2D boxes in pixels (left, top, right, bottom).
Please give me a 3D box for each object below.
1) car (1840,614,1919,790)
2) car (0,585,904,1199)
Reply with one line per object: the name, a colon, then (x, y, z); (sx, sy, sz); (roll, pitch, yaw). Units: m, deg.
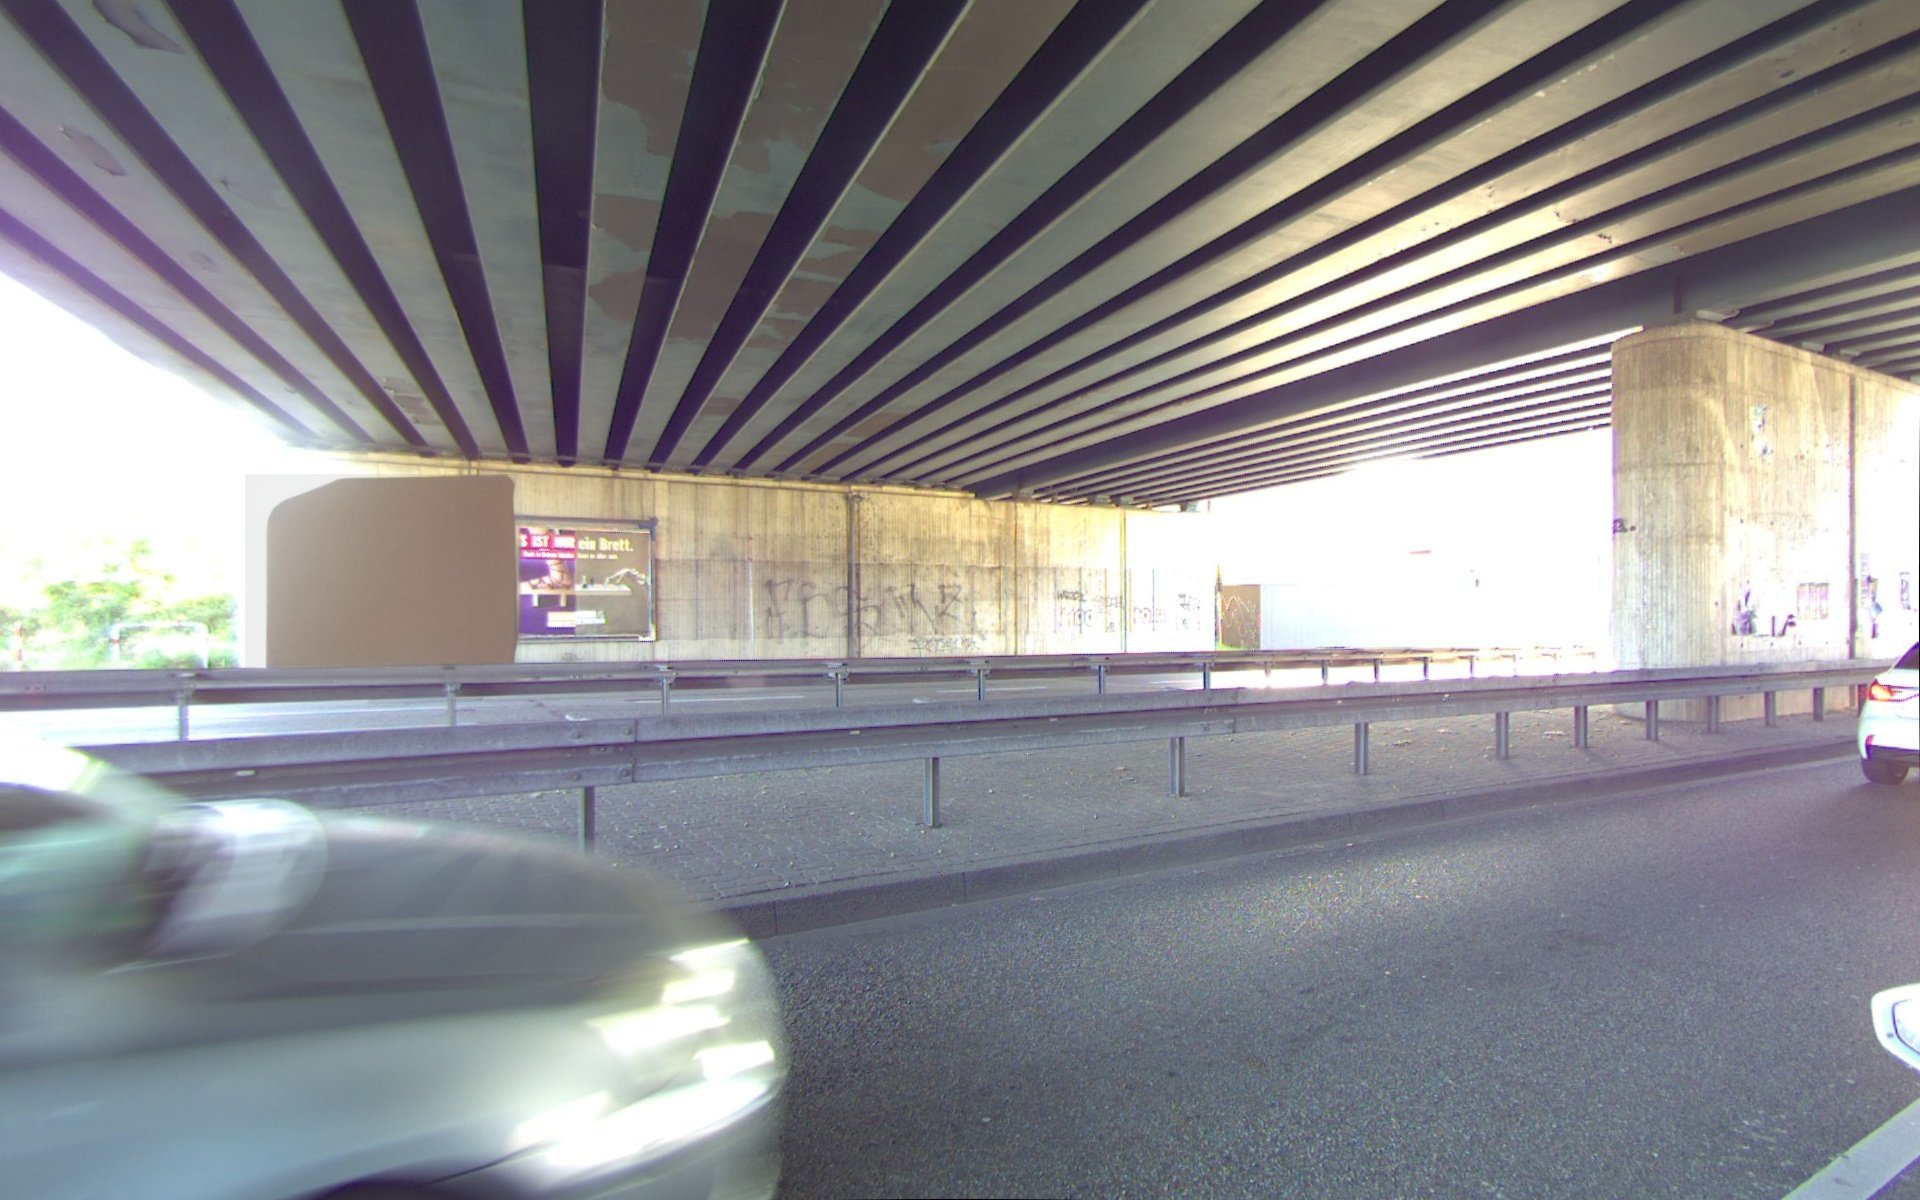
car: (9.642, 0.874, 8.879); (3.768, 1.429, 1.684); (1, 0, -30)
car: (-2.363, 0.699, 1.362); (4.355, 1.474, 1.685); (1, 0, -36)
